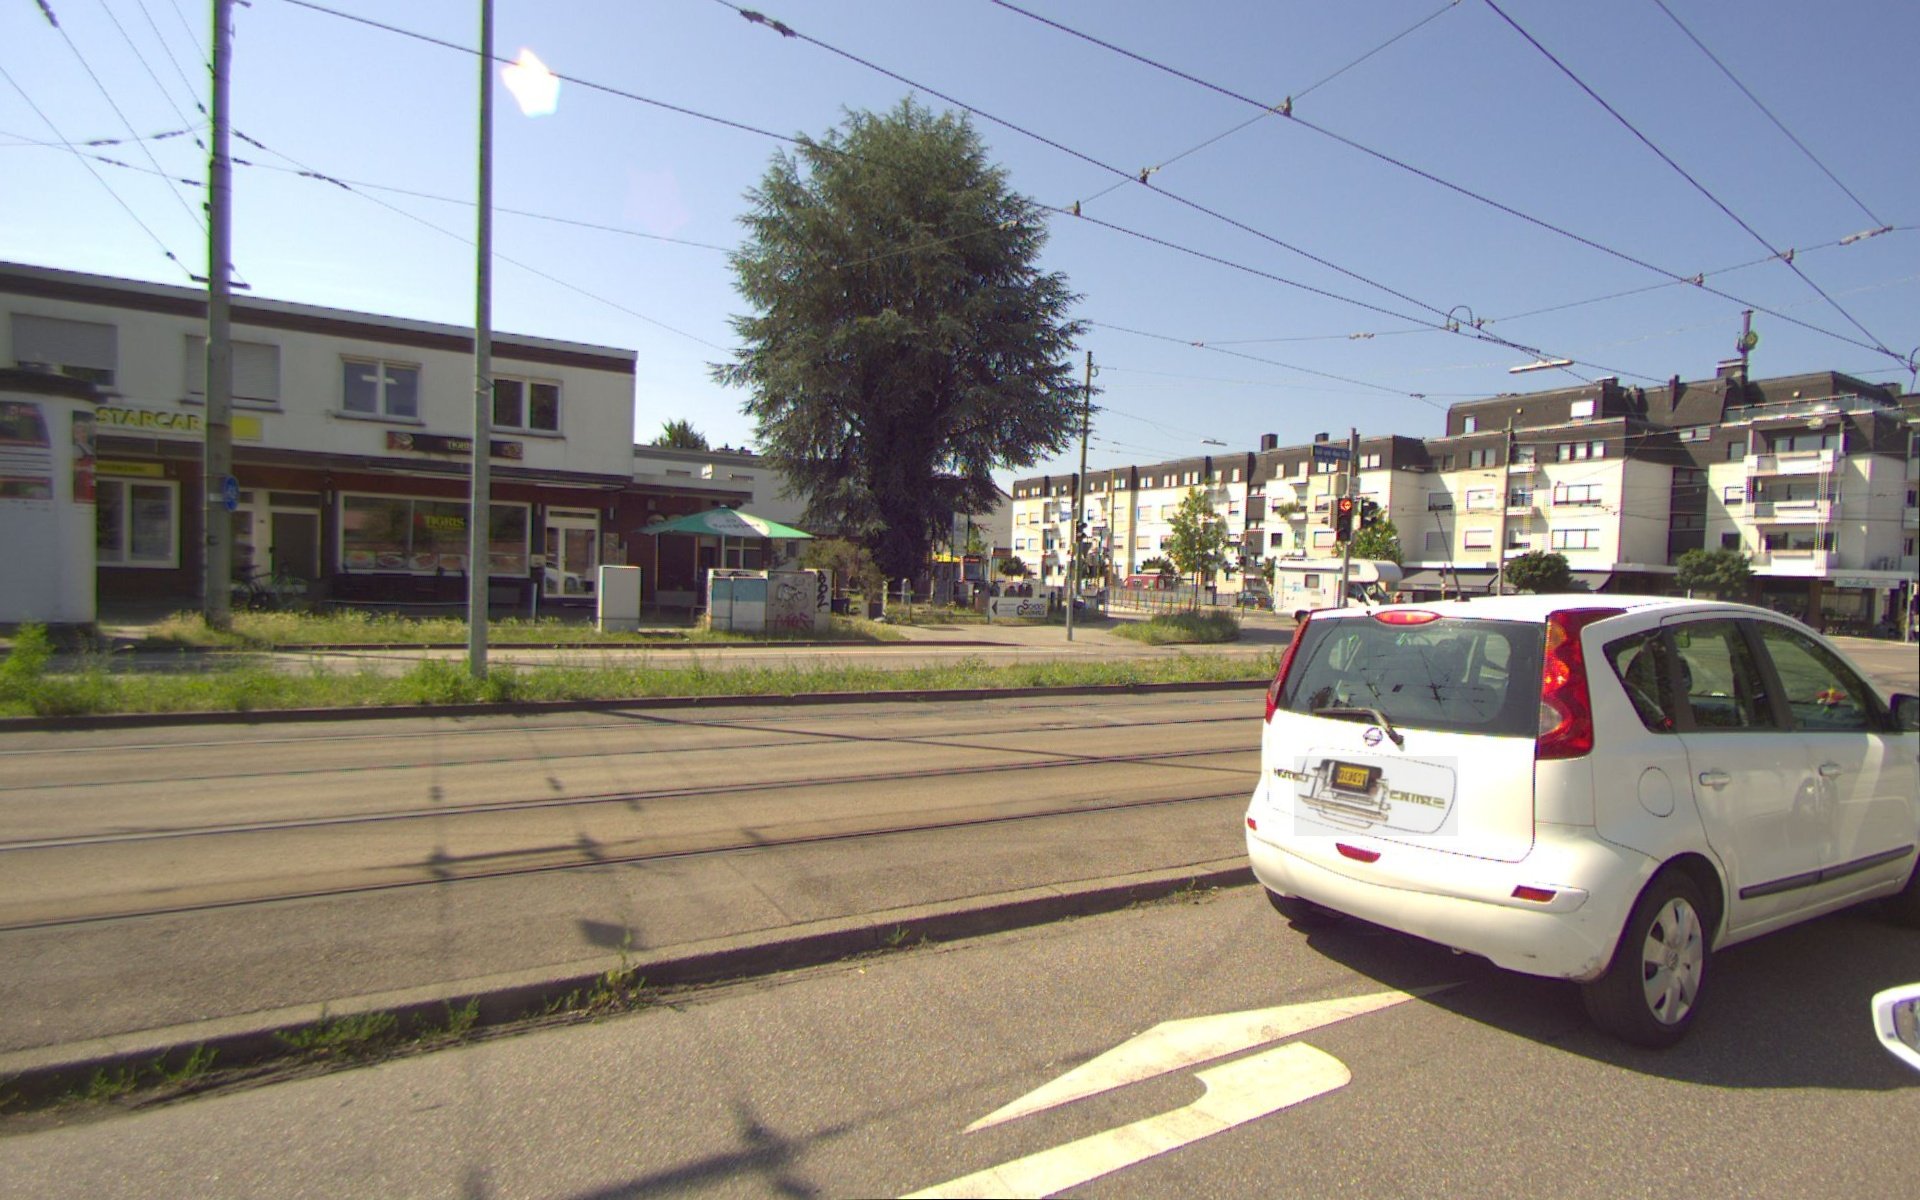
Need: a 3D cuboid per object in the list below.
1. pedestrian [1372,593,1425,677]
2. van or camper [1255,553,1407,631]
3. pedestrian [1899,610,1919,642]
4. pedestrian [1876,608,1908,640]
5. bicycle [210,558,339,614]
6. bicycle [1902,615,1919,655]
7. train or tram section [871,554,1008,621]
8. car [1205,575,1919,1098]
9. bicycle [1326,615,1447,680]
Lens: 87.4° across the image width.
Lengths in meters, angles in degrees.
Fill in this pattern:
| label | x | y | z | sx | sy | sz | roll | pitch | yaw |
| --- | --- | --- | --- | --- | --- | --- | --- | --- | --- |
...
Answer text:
| label | x | y | z | sx | sy | sz | roll | pitch | yaw |
| --- | --- | --- | --- | --- | --- | --- | --- | --- | --- |
| pedestrian | 8.546 | 0.676 | 19.578 | 0.671 | 1.592 | 0.738 | 1 | 0 | -45 |
| van or camper | 16.005 | -0.325 | 43.612 | 2.554 | 3.133 | 5.636 | 2 | -1 | -40 |
| pedestrian | 52.564 | 1.427 | 55.264 | 0.955 | 1.766 | 0.865 | 2 | -1 | 14 |
| pedestrian | 52.051 | 1.340 | 56.104 | 0.956 | 1.766 | 0.864 | 2 | -1 | -1 |
| bicycle | -15.251 | -0.292 | 22.432 | 2.306 | 1.167 | 0.783 | 2 | 0 | -30 |
| bicycle | 32.530 | 1.197 | 33.000 | 2.208 | 1.314 | 0.559 | 1 | -1 | 28 |
| train or tram section | -2.171 | -1.030 | 88.249 | 4.681 | 5.217 | 16.122 | 2 | -1 | -30 |
| car | 3.113 | 0.723 | 4.714 | 3.759 | 1.587 | 1.634 | 0 | 0 | -31 |
| bicycle | 8.144 | 0.884 | 19.265 | 0.705 | 1.105 | 1.999 | 1 | 2 | -44 |
